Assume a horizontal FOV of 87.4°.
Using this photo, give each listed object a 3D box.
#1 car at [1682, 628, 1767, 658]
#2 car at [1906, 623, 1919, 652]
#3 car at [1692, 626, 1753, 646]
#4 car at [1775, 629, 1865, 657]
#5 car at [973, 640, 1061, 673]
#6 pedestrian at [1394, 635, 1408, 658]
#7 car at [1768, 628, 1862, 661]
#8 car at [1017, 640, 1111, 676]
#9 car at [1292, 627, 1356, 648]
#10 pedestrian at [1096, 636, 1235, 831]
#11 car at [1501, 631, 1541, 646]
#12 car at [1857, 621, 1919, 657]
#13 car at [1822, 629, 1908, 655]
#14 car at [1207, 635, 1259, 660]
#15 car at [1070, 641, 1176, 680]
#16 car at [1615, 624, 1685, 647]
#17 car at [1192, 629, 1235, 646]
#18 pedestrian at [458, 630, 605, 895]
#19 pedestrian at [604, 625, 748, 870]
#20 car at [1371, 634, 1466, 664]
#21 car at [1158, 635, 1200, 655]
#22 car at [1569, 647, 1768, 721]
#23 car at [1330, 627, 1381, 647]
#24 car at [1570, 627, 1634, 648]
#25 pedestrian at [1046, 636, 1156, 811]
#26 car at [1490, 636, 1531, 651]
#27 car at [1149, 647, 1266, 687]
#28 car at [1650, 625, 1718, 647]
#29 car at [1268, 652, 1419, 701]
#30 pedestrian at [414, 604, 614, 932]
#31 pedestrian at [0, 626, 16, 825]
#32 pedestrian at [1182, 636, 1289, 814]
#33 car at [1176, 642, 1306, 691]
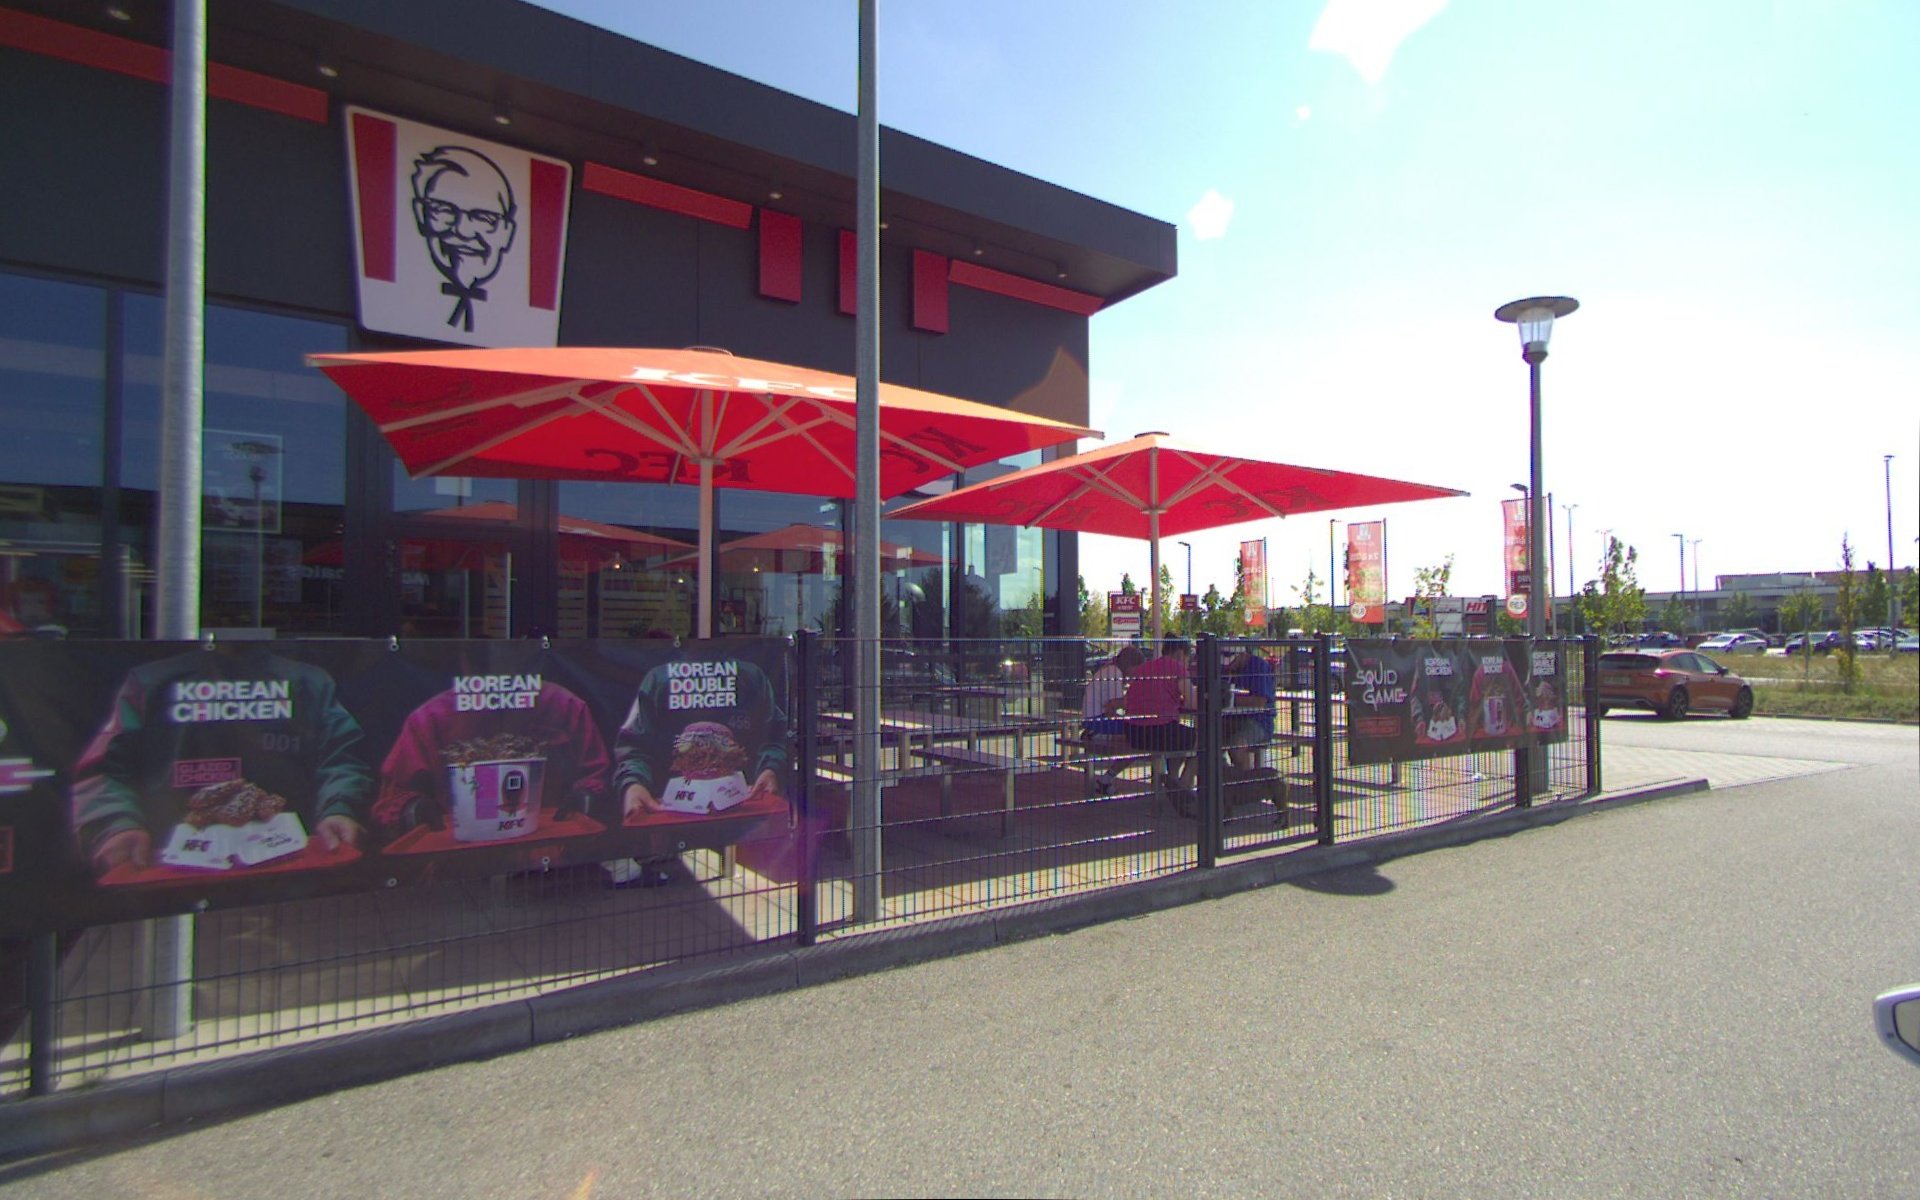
[{"bbox_3d":[48.498,2.713,63.758,4.210,1.880,1.996,1,-2,-11],"label":"car"},{"bbox_3d":[65.107,2.454,65.739,1.936,1.880,4.363,1,-2,-34],"label":"car"},{"bbox_3d":[74.342,3.478,98.004,1.936,1.880,4.363,1,-2,-34],"label":"car"},{"bbox_3d":[59.548,2.931,69.603,1.936,1.880,4.363,1,-2,-34],"label":"car"},{"bbox_3d":[3.127,3.126,55.523,4.517,1.783,1.889,2,-2,-17],"label":"car"},{"bbox_3d":[30.068,3.149,68.435,0.614,1.576,0.666,0,-1,-9],"label":"pedestrian"},{"bbox_3d":[50.208,2.602,59.027,4.327,1.880,1.952,1,-2,-11],"label":"car"},{"bbox_3d":[5.136,2.856,49.767,4.270,1.725,1.886,2,-3,-23],"label":"car"},{"bbox_3d":[39.370,4.081,108.735,6.219,2.267,2.803,1,-2,-22],"label":"car"},{"bbox_3d":[1.489,0.912,7.248,0.675,1.290,0.838,-1,-2,39],"label":"pedestrian"},{"bbox_3d":[59.944,4.065,107.399,1.653,1.572,3.436,2,-2,-39],"label":"car"},{"bbox_3d":[51.200,2.119,54.237,4.327,1.880,1.952,1,-2,-11],"label":"car"},{"bbox_3d":[66.446,3.050,73.827,1.936,1.880,4.363,1,-2,-34],"label":"car"},{"bbox_3d":[21.557,3.729,79.464,1.968,1.870,4.391,1,-2,-17],"label":"car"},{"bbox_3d":[7.392,2.744,45.653,4.377,1.659,1.890,1,-2,-15],"label":"car"},{"bbox_3d":[58.467,3.020,85.195,1.936,1.880,4.530,1,-2,-34],"label":"car"},{"bbox_3d":[31.277,4.595,123.983,5.008,2.040,1.988,1,-2,-25],"label":"car"},{"bbox_3d":[-2.338,0.826,5.475,0.678,1.322,0.661,1,-2,-26],"label":"pedestrian"},{"bbox_3d":[-1.670,0.808,5.876,0.703,1.322,0.661,1,-2,-26],"label":"pedestrian"},{"bbox_3d":[27.976,2.956,61.463,1.966,1.754,5.182,1,-2,-30],"label":"car"},{"bbox_3d":[19.472,4.007,89.387,1.847,1.686,4.591,1,-2,-14],"label":"car"},{"bbox_3d":[15.776,1.838,22.338,4.297,1.488,1.821,2,-3,-27],"label":"car"},{"bbox_3d":[40.718,3.818,103.381,5.109,2.040,1.988,1,-2,-25],"label":"car"},{"bbox_3d":[62.647,3.626,98.034,2.064,2.040,4.878,1,-2,-38],"label":"car"},{"bbox_3d":[1.104,0.930,7.883,0.675,1.290,0.549,-1,-2,39],"label":"pedestrian"},{"bbox_3d":[57.859,4.583,105.639,1.653,1.572,3.436,2,-2,-39],"label":"car"},{"bbox_3d":[9.374,2.514,37.995,4.149,1.428,1.763,2,-3,-25],"label":"car"},{"bbox_3d":[64.704,3.188,89.843,1.936,1.880,4.530,1,-2,-34],"label":"car"},{"bbox_3d":[12.046,2.384,31.538,4.535,1.431,1.731,2,-3,-23],"label":"car"},{"bbox_3d":[-2.114,0.733,4.784,0.797,1.405,0.661,1,-2,-26],"label":"pedestrian"},{"bbox_3d":[-6.799,0.832,6.448,0.935,1.330,0.748,1,-2,-34],"label":"pedestrian"},{"bbox_3d":[2.134,0.931,7.782,0.604,1.290,0.621,-1,-2,39],"label":"pedestrian"},{"bbox_3d":[9.993,2.345,35.749,4.170,1.659,1.941,2,-3,-22],"label":"car"}]
